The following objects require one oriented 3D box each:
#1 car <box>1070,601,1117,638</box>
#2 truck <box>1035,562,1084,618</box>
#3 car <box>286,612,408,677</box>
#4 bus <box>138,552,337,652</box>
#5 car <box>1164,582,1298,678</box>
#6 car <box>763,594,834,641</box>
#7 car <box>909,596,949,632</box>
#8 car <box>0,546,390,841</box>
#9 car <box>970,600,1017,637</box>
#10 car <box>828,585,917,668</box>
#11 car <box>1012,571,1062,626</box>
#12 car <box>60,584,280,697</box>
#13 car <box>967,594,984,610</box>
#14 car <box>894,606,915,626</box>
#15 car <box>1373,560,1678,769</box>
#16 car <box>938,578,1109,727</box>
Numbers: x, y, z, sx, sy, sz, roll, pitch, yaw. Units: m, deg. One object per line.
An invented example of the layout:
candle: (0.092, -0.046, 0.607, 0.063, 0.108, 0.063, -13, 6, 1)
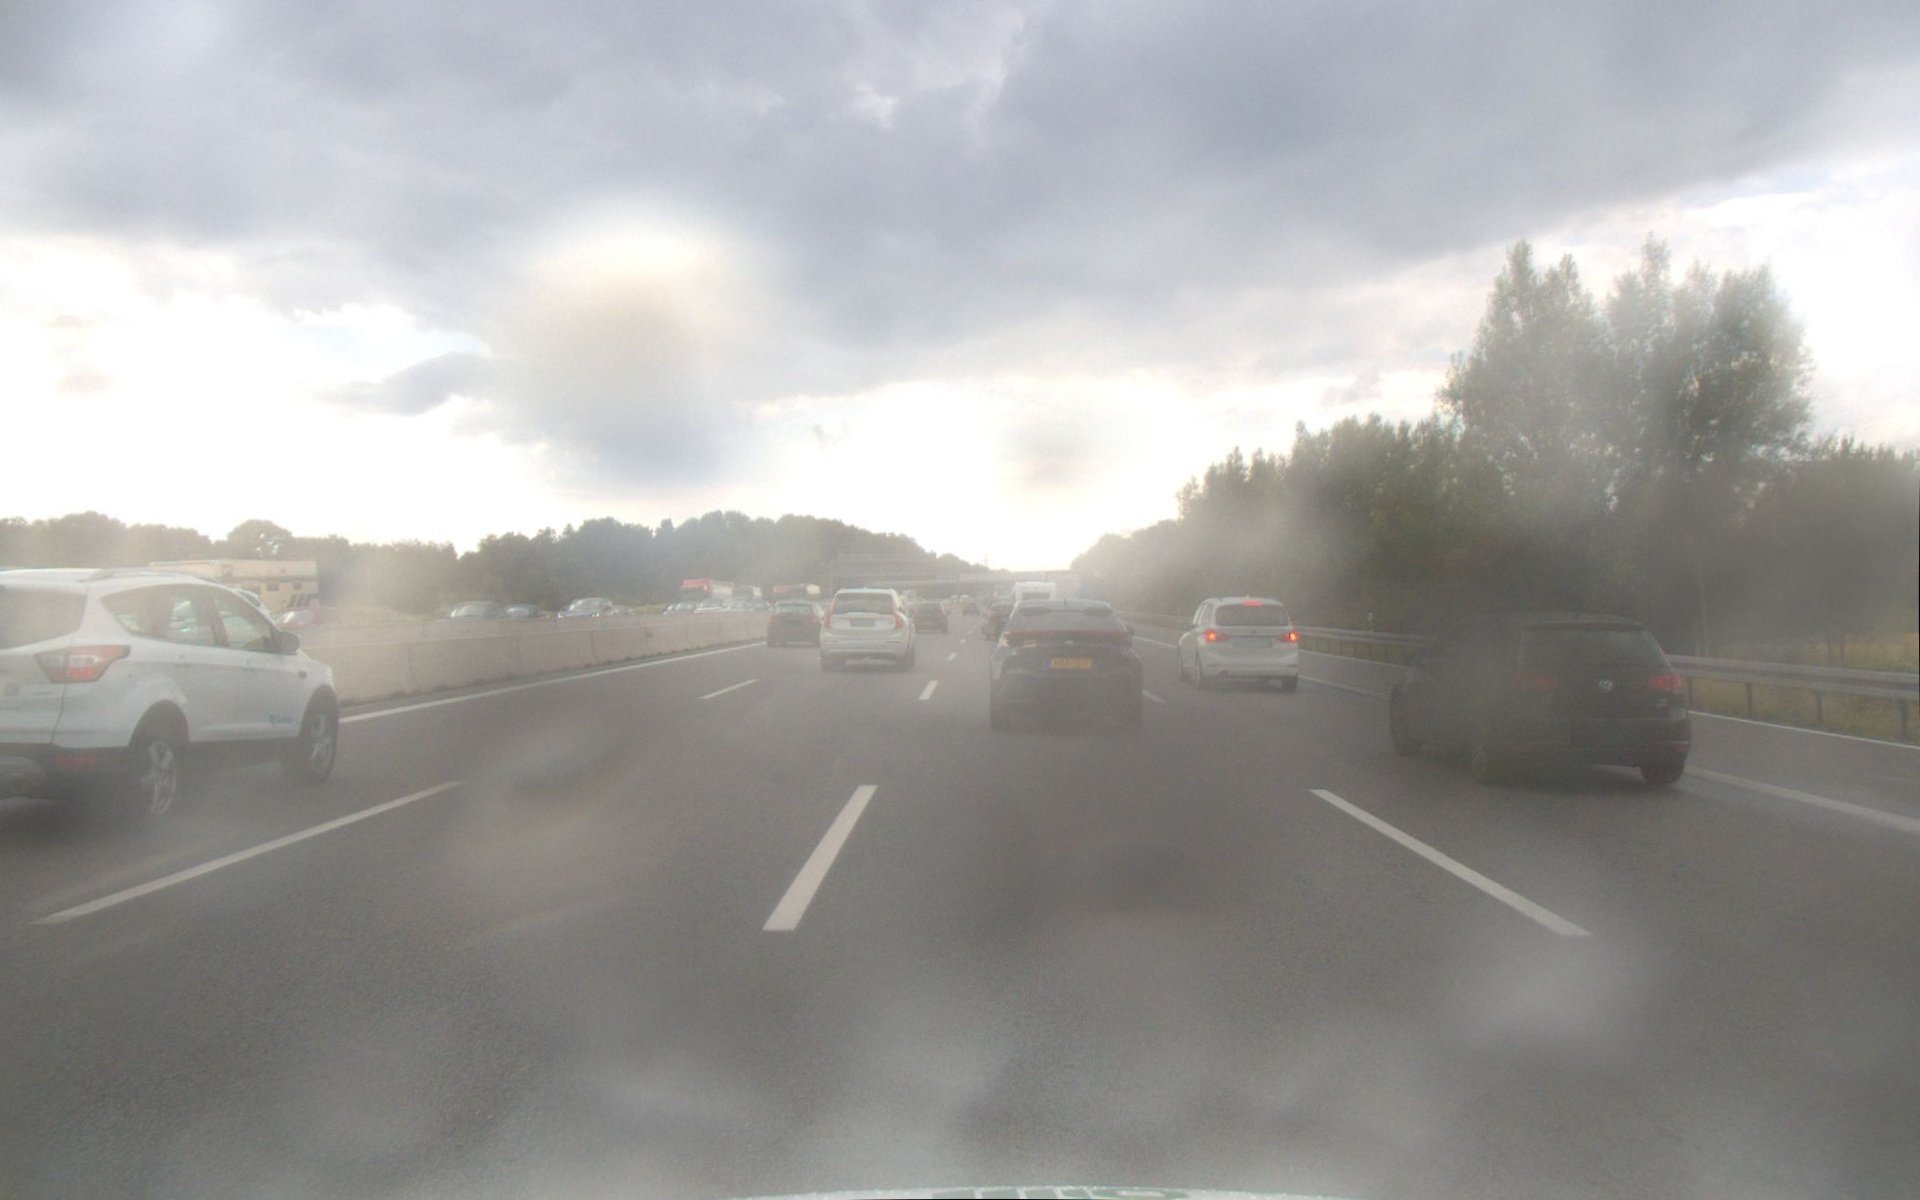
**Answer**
car: (5.502, 0.777, 68.471, 1.758, 1.503, 4.038, 0, 0, 2)
truck: (6.923, -0.637, 116.328, 3.068, 3.774, 9.849, 0, 0, 2)
car: (-18.667, 1.319, 50.600, 1.952, 1.860, 4.638, 0, 0, 1)
bus: (-26.525, 0.081, 61.401, 2.772, 3.391, 9.965, 0, 0, 2)
car: (4.905, 0.509, 30.518, 1.773, 1.627, 4.696, 0, 0, 1)
car: (-5.352, 0.573, 55.343, 1.743, 1.507, 4.354, 0, 0, 3)
car: (-1.471, 0.659, 79.721, 1.842, 1.715, 4.000, 0, 0, 0)
car: (-5.958, 0.540, 12.080, 1.777, 1.719, 4.853, 0, 0, 2)
car: (1.364, 0.735, 66.773, 1.846, 1.431, 4.283, 0, 0, 2)
car: (-1.894, 0.565, 36.843, 1.744, 1.746, 4.352, 0, 0, 0)
car: (4.297, -0.071, 93.289, 2.514, 2.946, 7.533, 0, 0, 0)
car: (-15.326, 0.732, 32.421, 1.952, 2.049, 4.764, 0, 0, 1)
car: (1.661, 0.254, 179.748, 1.842, 1.715, 4.000, 0, 0, 0)
car: (-4.375, 1.240, 130.017, 1.531, 1.503, 3.919, 0, 0, 0)
car: (5.064, 0.517, 15.431, 1.671, 1.659, 4.459, 0, 0, 5)
car: (0.671, 0.580, 20.571, 1.745, 1.641, 4.595, 0, 0, -3)
